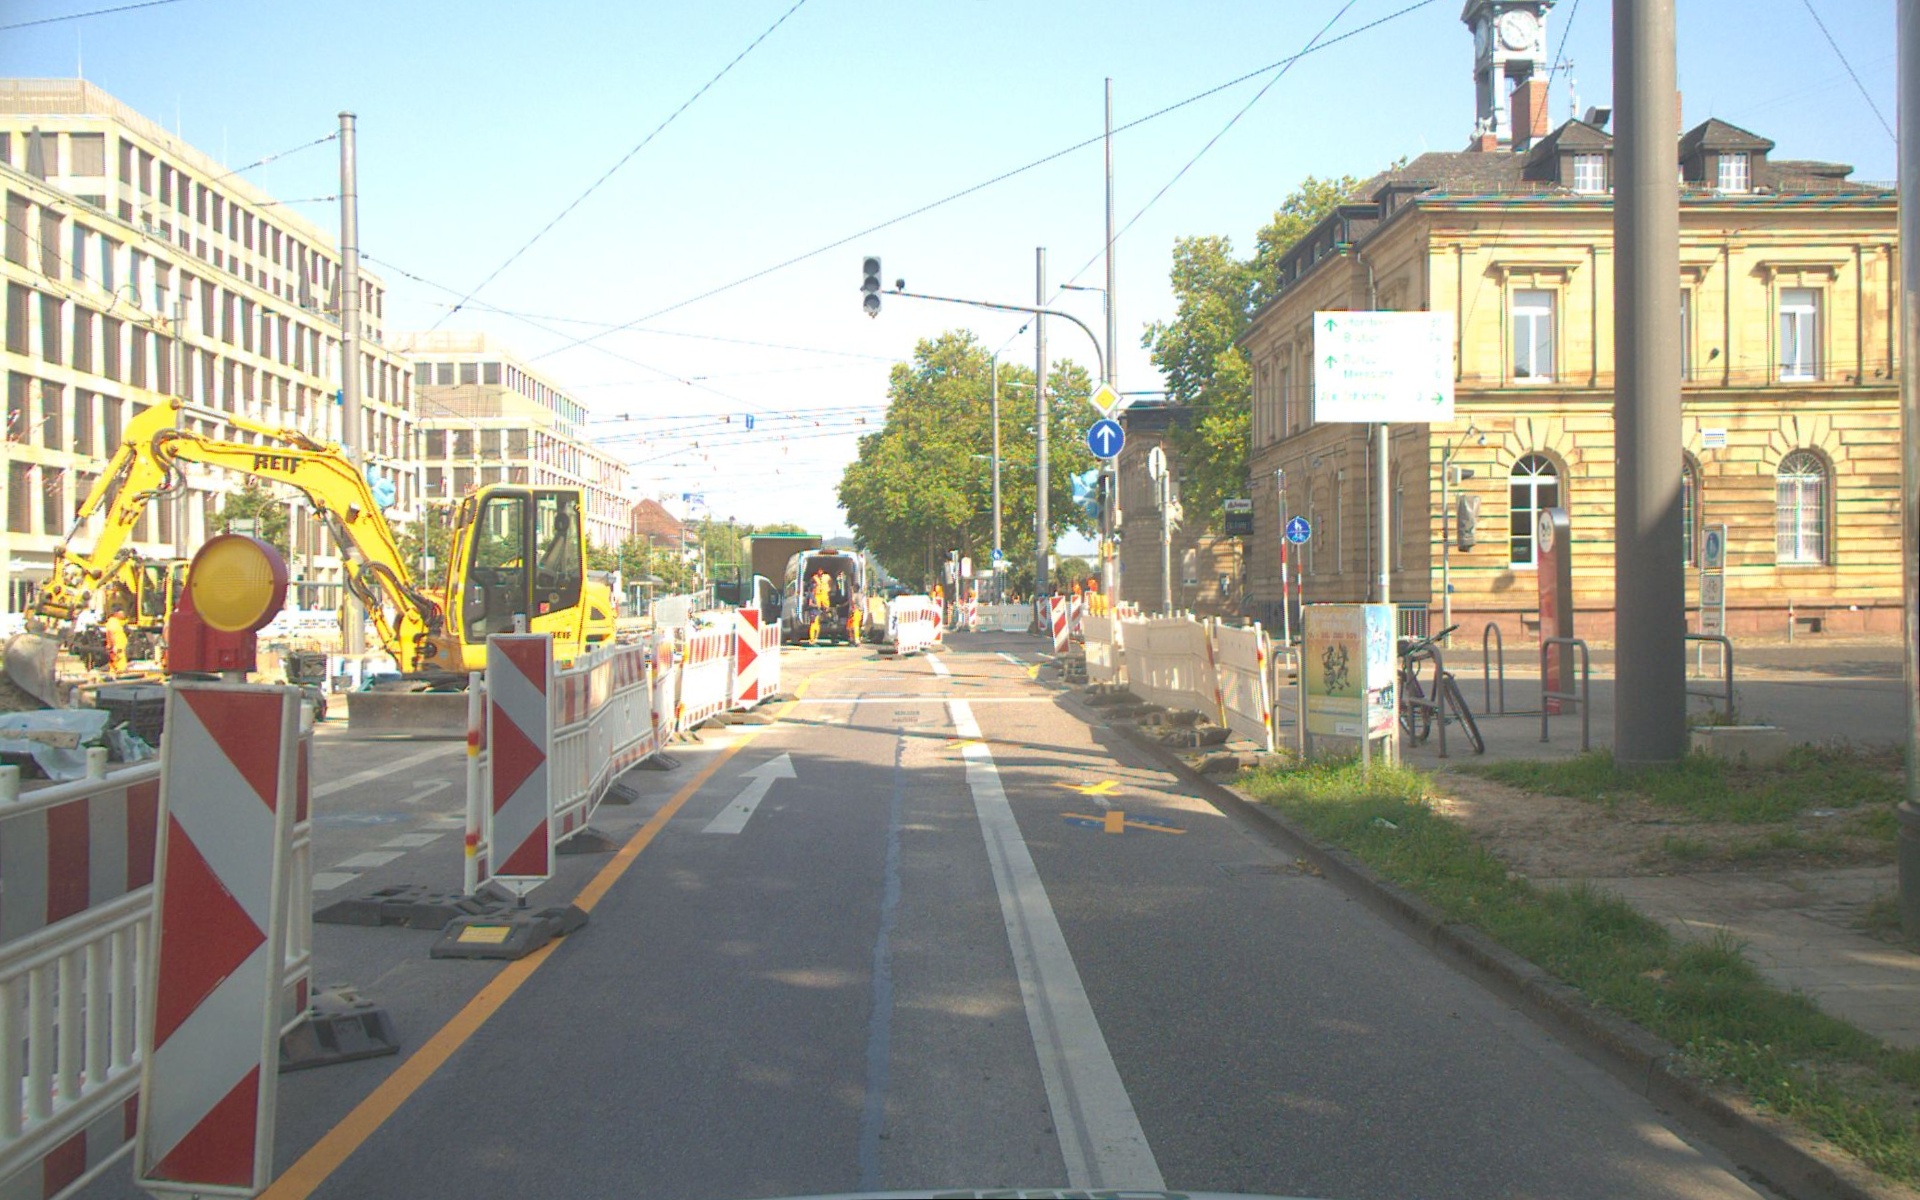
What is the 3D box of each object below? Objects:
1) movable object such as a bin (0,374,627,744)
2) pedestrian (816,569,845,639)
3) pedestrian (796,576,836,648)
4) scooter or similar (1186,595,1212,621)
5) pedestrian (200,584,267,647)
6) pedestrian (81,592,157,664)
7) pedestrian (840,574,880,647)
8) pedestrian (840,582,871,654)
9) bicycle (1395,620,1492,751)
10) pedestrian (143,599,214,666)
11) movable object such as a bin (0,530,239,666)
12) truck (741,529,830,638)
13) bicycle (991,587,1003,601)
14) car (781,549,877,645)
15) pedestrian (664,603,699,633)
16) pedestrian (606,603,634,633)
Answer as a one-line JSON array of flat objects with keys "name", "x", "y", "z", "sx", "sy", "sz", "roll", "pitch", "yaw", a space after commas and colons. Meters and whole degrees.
[{"name": "movable object such as a bin", "x": -6.679, "y": -0.386, "z": 17.211, "sx": 6.056, "sy": 3.404, "sz": 2.103, "roll": 0, "pitch": 0, "yaw": -22}, {"name": "pedestrian", "x": -3.857, "y": 0.119, "z": 49.282, "sx": 0.718, "sy": 2.049, "sz": 0.907, "roll": -1, "pitch": 0, "yaw": 4}, {"name": "pedestrian", "x": -4.170, "y": 0.341, "z": 47.821, "sx": 0.720, "sy": 2.049, "sz": 0.905, "roll": -2, "pitch": 0, "yaw": 30}, {"name": "scooter or similar", "x": 12.003, "y": 0.391, "z": 82.972, "sx": 1.236, "sy": 1.231, "sz": 0.419, "roll": -2, "pitch": 2, "yaw": -27}, {"name": "pedestrian", "x": -17.256, "y": 0.366, "z": 39.297, "sx": 1.119, "sy": 1.467, "sz": 1.020, "roll": -1, "pitch": -1, "yaw": -1}, {"name": "pedestrian", "x": -17.616, "y": 0.581, "z": 34.654, "sx": 1.119, "sy": 1.467, "sz": 0.917, "roll": -1, "pitch": -1, "yaw": -1}, {"name": "pedestrian", "x": -2.862, "y": 0.303, "z": 47.194, "sx": 0.720, "sy": 2.049, "sz": 0.905, "roll": -2, "pitch": 0, "yaw": 31}, {"name": "pedestrian", "x": -3.038, "y": 0.526, "z": 48.212, "sx": 0.718, "sy": 2.049, "sz": 0.908, "roll": -1, "pitch": 0, "yaw": 5}, {"name": "bicycle", "x": 3.998, "y": 0.683, "z": 13.746, "sx": 0.402, "sy": 1.004, "sz": 1.376, "roll": -1, "pitch": 0, "yaw": 0}, {"name": "pedestrian", "x": -17.336, "y": 0.715, "z": 36.706, "sx": 1.119, "sy": 1.467, "sz": 0.917, "roll": -1, "pitch": -1, "yaw": -1}, {"name": "movable object such as a bin", "x": -23.308, "y": -0.036, "z": 46.019, "sx": 2.788, "sy": 3.388, "sz": 8.345, "roll": -1, "pitch": 0, "yaw": 0}, {"name": "truck", "x": -6.632, "y": -0.587, "z": 61.834, "sx": 2.626, "sy": 3.742, "sz": 8.193, "roll": -1, "pitch": 0, "yaw": -10}, {"name": "bicycle", "x": 2.746, "y": -0.467, "z": 123.899, "sx": 0.703, "sy": 1.060, "sz": 1.901, "roll": -1, "pitch": 0, "yaw": -4}, {"name": "car", "x": -4.081, "y": -0.086, "z": 50.758, "sx": 2.186, "sy": 2.777, "sz": 5.153, "roll": -1, "pitch": 0, "yaw": -13}, {"name": "pedestrian", "x": -12.629, "y": 0.834, "z": 74.991, "sx": 1.285, "sy": 1.329, "sz": 0.798, "roll": -1, "pitch": 0, "yaw": 22}, {"name": "pedestrian", "x": -15.511, "y": 0.832, "z": 75.444, "sx": 0.994, "sy": 1.329, "sz": 0.983, "roll": -1, "pitch": 0, "yaw": 2}]
